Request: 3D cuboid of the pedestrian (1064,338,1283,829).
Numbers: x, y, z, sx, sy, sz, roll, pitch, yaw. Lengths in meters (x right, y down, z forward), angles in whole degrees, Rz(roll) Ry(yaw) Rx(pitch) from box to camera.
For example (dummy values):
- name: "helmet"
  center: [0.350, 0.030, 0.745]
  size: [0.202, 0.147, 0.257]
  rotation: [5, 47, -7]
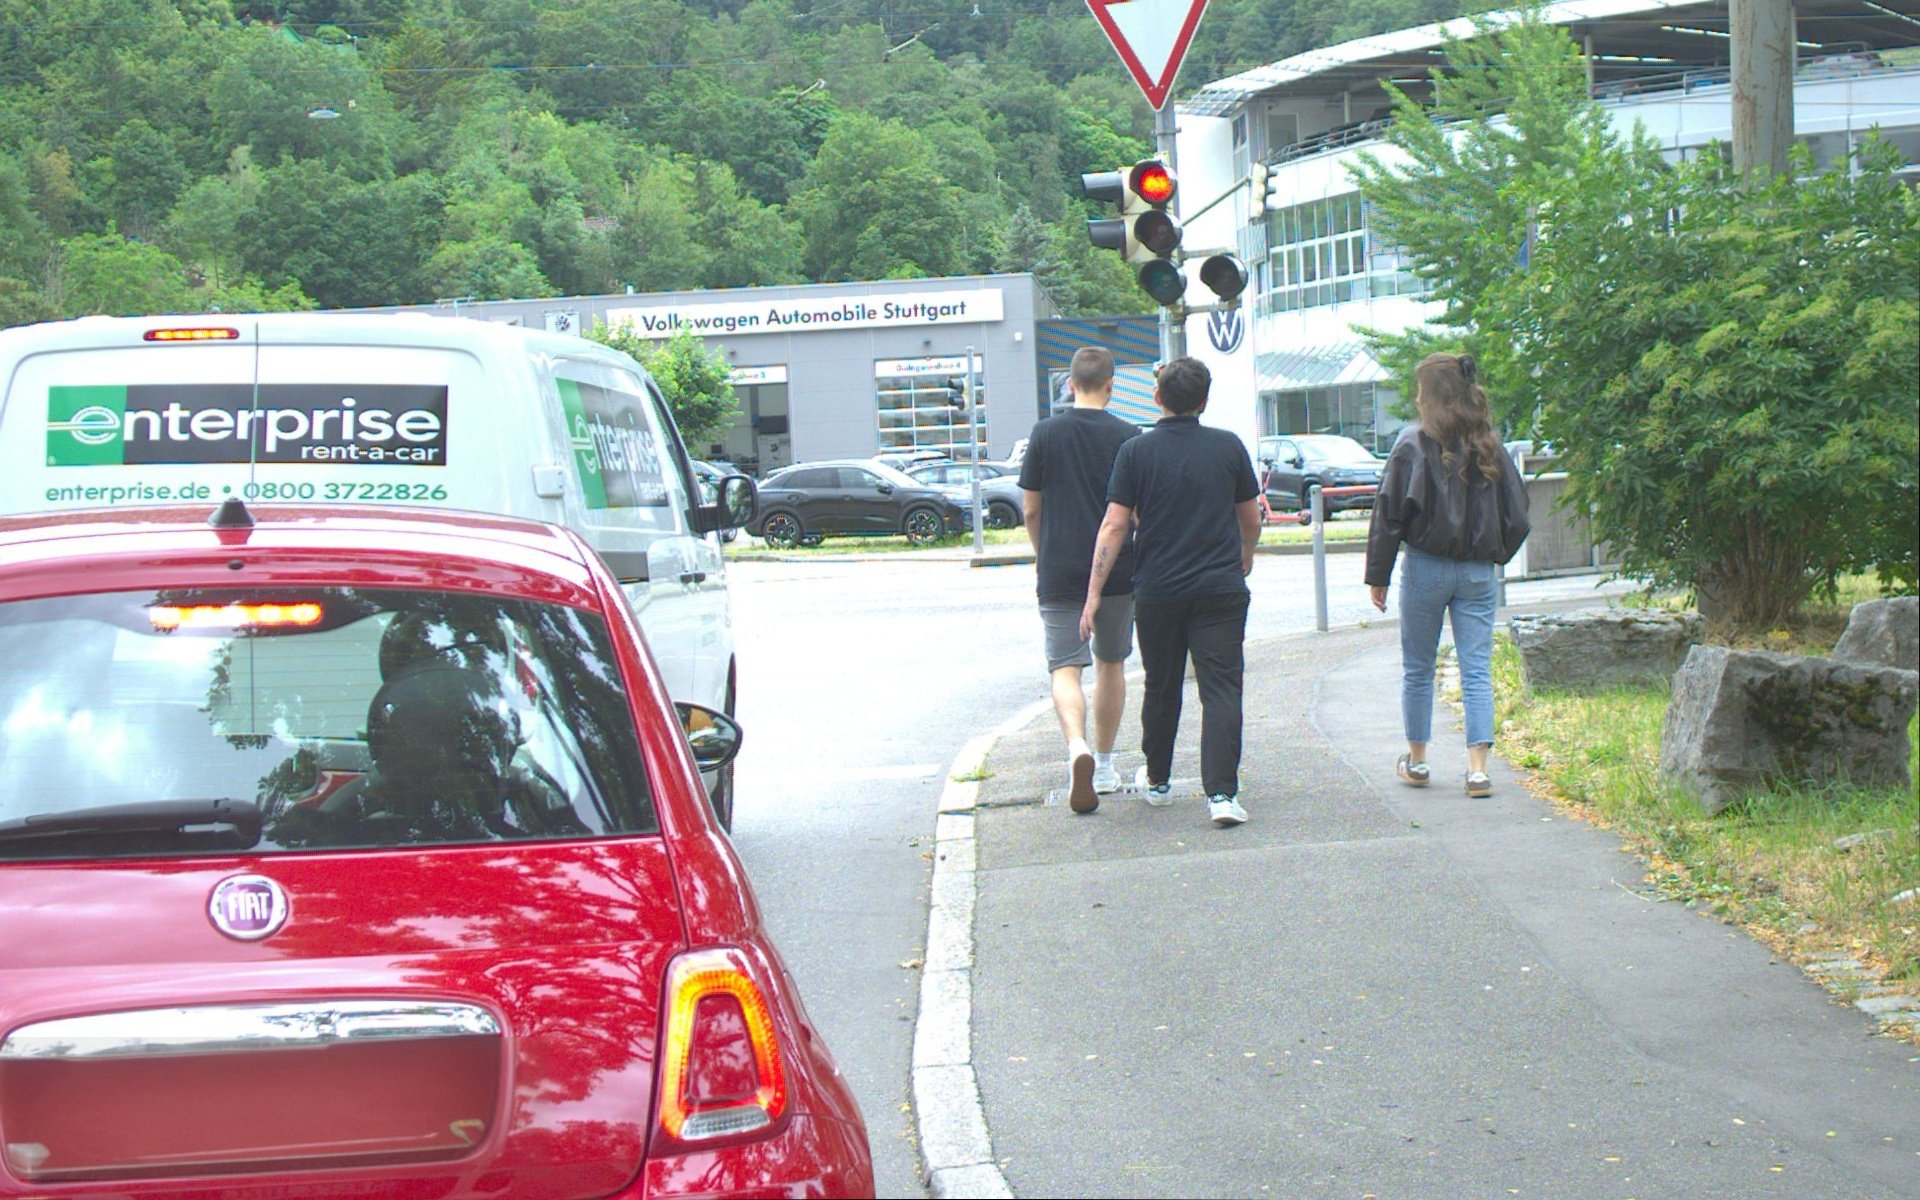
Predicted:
- name: "pedestrian"
  center: [0.776, -0.073, 12.579]
  size: [0.693, 1.708, 0.788]
  rotation: [-3, 2, 3]

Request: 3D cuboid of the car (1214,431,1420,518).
- name: "car"
  center: [6.723, -2.356, 65.031]
  size: [1.770, 1.495, 3.881]
  rotation: [-4, 3, -33]

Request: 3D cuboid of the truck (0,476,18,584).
- name: "truck"
  center: [-23.754, -1.428, 76.079]
  size: [5.183, 2.385, 2.000]
  rotation: [-4, 3, -28]

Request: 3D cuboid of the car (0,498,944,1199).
- name: "car"
  center: [-1.163, 0.588, 5.543]
  size: [1.638, 1.451, 3.432]
  rotation: [-2, 2, -11]

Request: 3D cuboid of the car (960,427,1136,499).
- name: "car"
  center: [2.469, -3.835, 96.201]
  size: [4.796, 1.796, 1.776]
  rotation: [-2, 2, 3]

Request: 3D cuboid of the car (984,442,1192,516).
- name: "car"
  center: [3.019, -2.862, 81.065]
  size: [4.796, 1.528, 1.776]
  rotation: [-2, 2, 3]

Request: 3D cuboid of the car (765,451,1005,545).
- name: "car"
  center: [-1.326, -1.823, 61.381]
  size: [3.871, 1.495, 1.774]
  rotation: [-2, 2, 17]

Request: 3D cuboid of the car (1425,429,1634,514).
- name: "car"
  center: [11.033, -2.484, 66.847]
  size: [1.770, 1.495, 4.022]
  rotation: [-4, 3, -31]

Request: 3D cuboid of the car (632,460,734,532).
- name: "car"
  center: [-6.326, -2.409, 78.846]
  size: [1.770, 1.528, 4.091]
  rotation: [-2, 2, 2]

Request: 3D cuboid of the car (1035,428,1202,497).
- name: "car"
  center: [4.643, -4.032, 101.095]
  size: [4.796, 1.796, 1.776]
  rotation: [-2, 2, 3]

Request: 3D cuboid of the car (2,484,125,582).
- name: "car"
  center: [-17.792, -1.364, 68.403]
  size: [1.859, 1.811, 4.404]
  rotation: [-3, 2, -9]

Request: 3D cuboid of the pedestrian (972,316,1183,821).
- name: "pedestrian"
  center: [0.456, -0.130, 13.184]
  size: [0.693, 1.850, 0.788]
  rotation: [-3, 2, 3]

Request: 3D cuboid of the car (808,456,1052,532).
- name: "car"
  center: [-0.596, -2.179, 70.621]
  size: [4.674, 1.323, 1.775]
  rotation: [-2, 2, 14]

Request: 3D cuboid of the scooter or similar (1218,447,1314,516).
- name: "scooter or similar"
  center: [5.550, -2.147, 62.288]
  size: [1.668, 1.173, 0.467]
  rotation: [-2, 2, 7]

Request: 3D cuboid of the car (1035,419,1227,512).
- name: "car"
  center: [4.412, -3.473, 88.861]
  size: [4.796, 2.149, 2.234]
  rotation: [-2, 2, 3]

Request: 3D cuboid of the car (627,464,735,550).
- name: "car"
  center: [-6.367, -2.151, 78.832]
  size: [1.993, 1.809, 4.000]
  rotation: [-3, 2, 1]

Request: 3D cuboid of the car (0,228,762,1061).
- name: "car"
  center: [-1.900, 0.036, 11.366]
  size: [1.989, 2.099, 4.762]
  rotation: [-3, 2, 2]

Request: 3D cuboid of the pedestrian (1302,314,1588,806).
- name: "pedestrian"
  center: [1.791, -0.157, 12.757]
  size: [0.693, 1.733, 0.788]
  rotation: [-4, 2, -19]
